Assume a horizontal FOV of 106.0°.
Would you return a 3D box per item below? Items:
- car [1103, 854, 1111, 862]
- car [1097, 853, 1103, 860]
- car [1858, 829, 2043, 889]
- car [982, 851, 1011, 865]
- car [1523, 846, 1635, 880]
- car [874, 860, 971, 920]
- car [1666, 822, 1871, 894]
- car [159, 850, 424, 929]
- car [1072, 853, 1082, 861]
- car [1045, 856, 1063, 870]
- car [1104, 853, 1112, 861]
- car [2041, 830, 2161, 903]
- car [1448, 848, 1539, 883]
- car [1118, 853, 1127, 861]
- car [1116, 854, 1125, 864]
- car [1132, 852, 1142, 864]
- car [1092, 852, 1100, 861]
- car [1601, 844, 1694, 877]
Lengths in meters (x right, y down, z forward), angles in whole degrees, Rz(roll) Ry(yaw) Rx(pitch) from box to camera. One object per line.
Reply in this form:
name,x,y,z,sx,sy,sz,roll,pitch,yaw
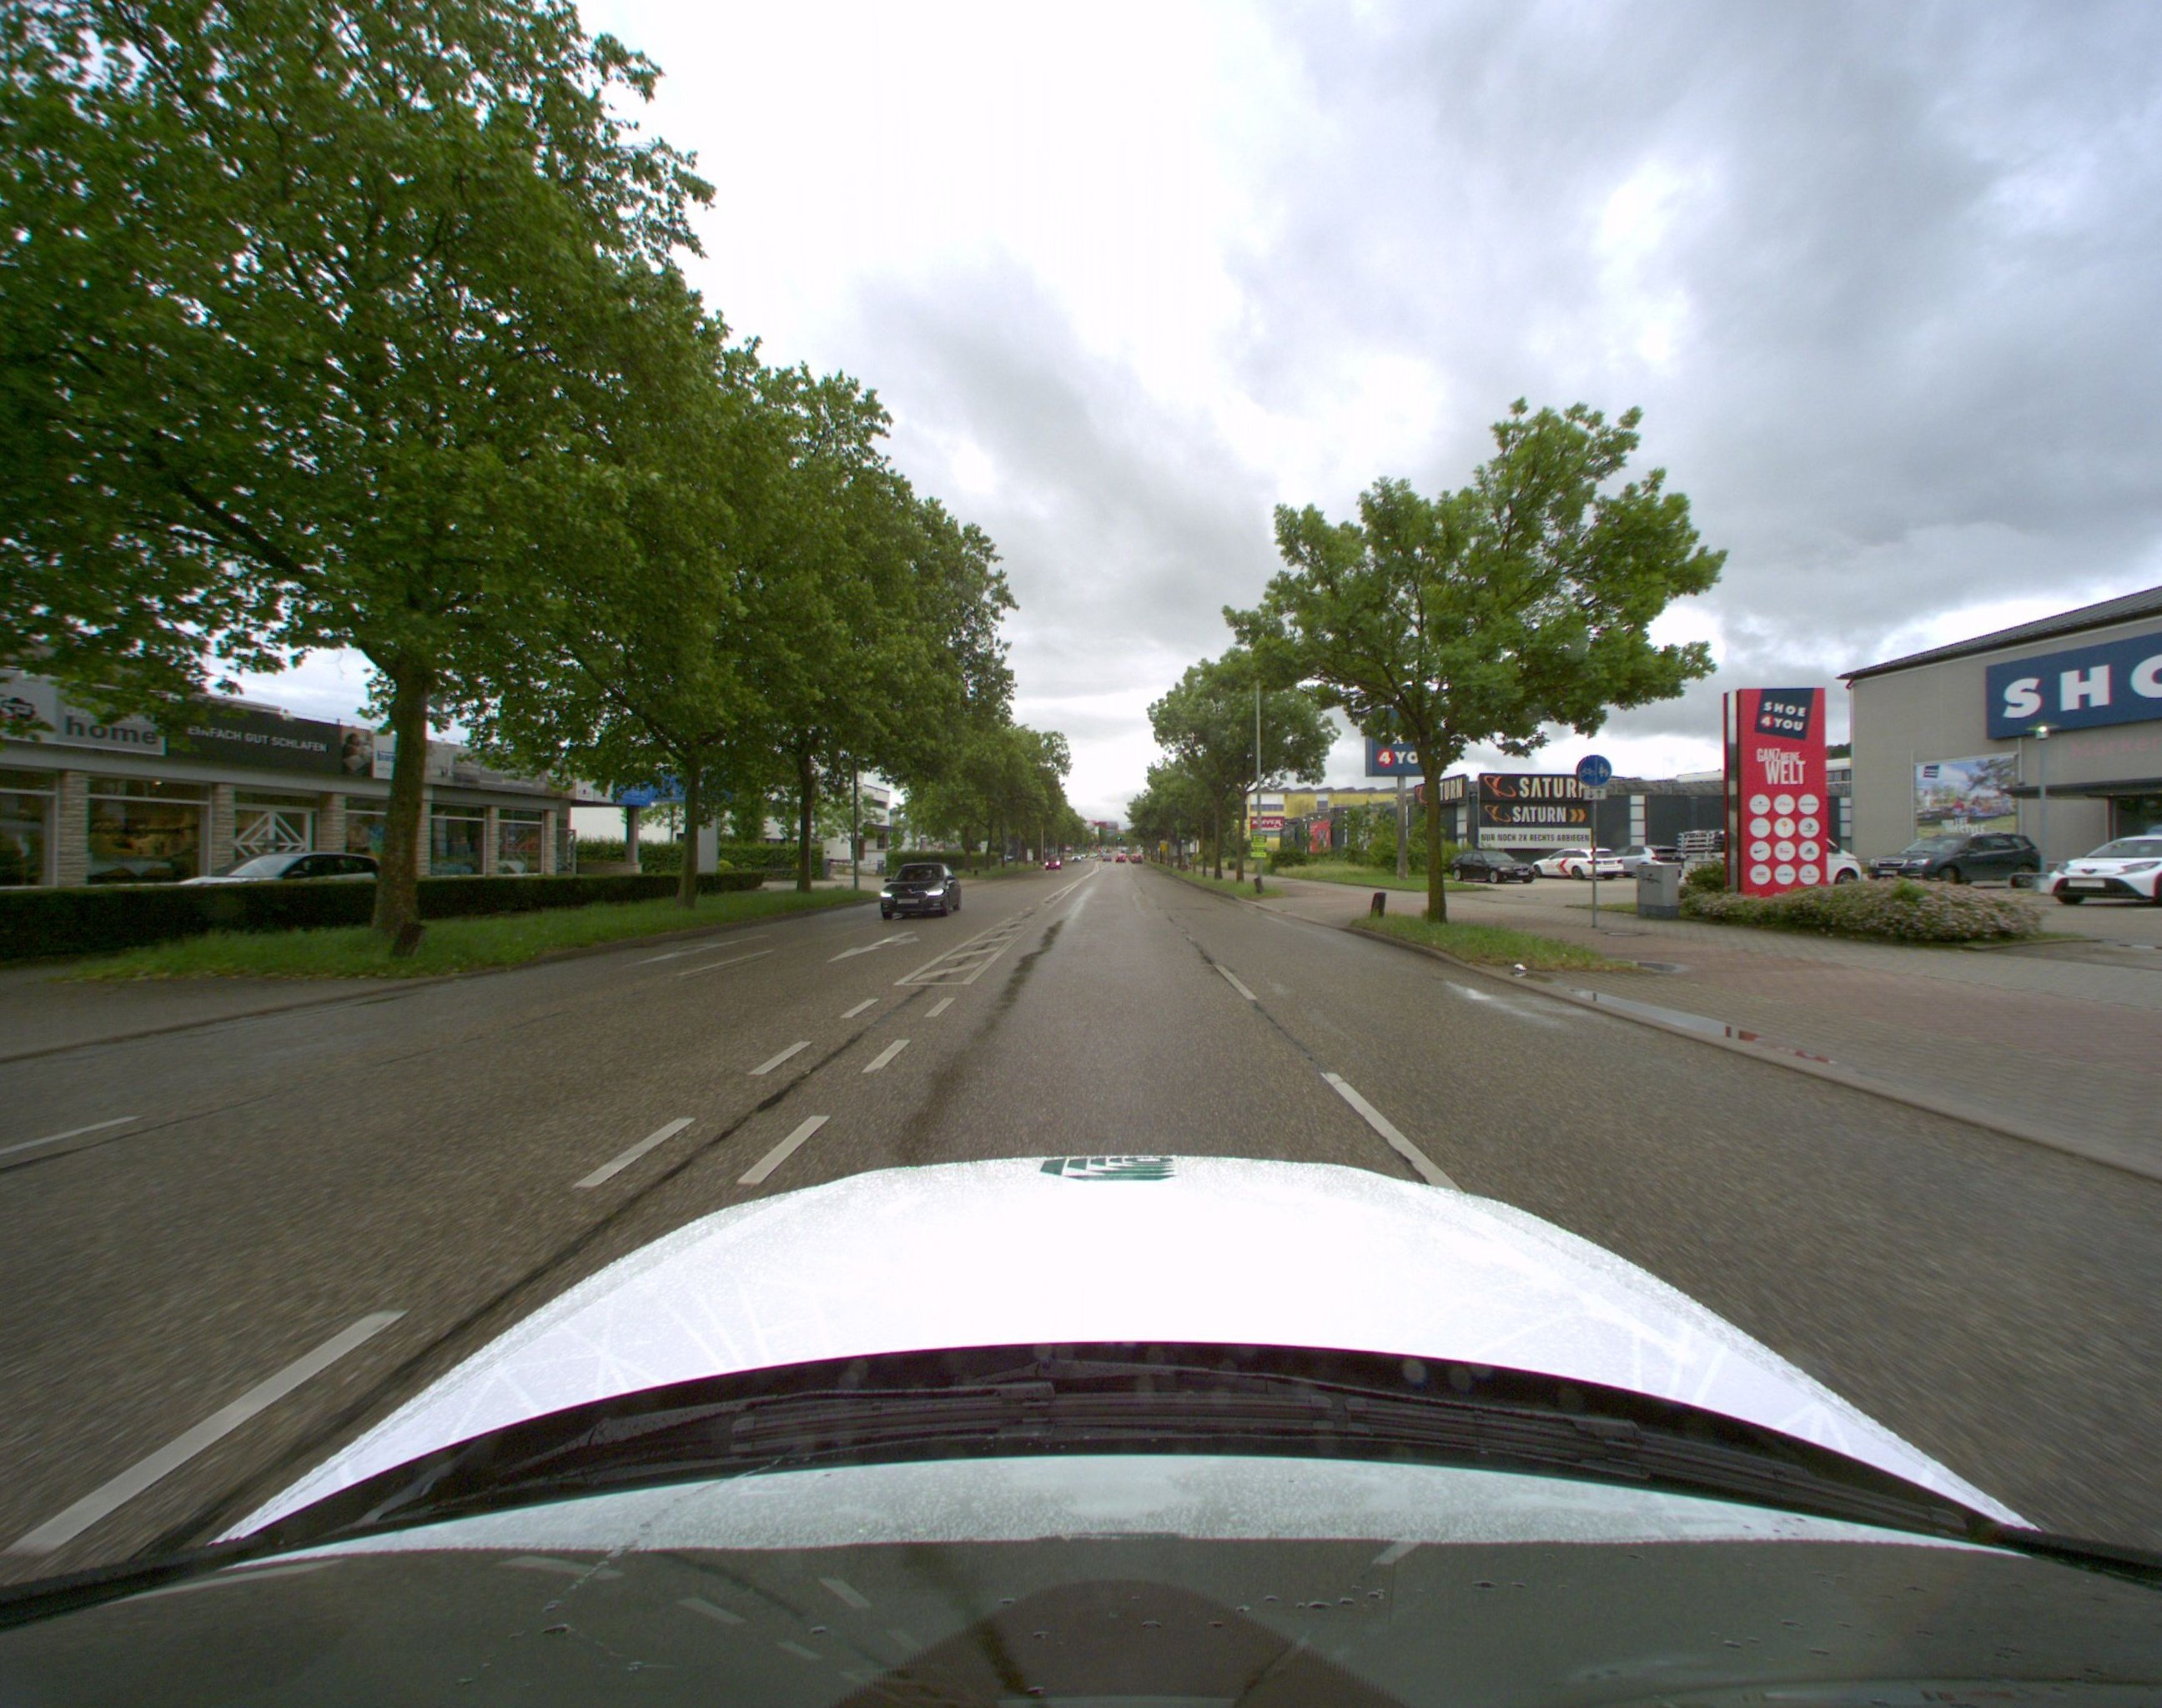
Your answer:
car,6.079,0.938,190.502,1.737,1.701,4.004,-1,0,4
car,5.402,0.701,232.503,1.820,2.013,4.000,-1,0,1
car,26.995,0.139,25.352,4.239,1.729,1.738,-1,0,-6
car,-12.499,0.646,120.912,3.970,1.925,1.828,-1,-1,3
car,23.365,0.385,38.448,1.878,1.468,4.941,-1,0,-7
car,-4.303,0.929,22.703,1.797,1.463,3.847,-2,0,1
car,20.766,0.112,24.696,4.816,2.014,1.985,-1,-1,-7
car,-16.815,0.682,17.676,1.816,1.486,3.941,-1,0,2
car,-0.925,0.644,178.348,1.696,1.737,4.006,-1,0,5
car,-3.089,1.063,94.375,1.719,1.517,3.824,-1,0,3
car,6.845,0.674,205.261,1.883,1.876,4.126,-1,0,2
car,23.665,0.233,17.841,3.634,1.515,1.672,-1,0,-6
car,18.404,0.473,36.588,1.576,1.428,4.256,-1,0,-7
car,9.266,0.679,181.172,1.737,1.737,4.004,-1,0,4
car,8.073,0.935,167.715,1.737,2.013,4.004,-2,0,4
car,10.462,0.735,151.922,1.737,2.013,4.004,-1,0,4
car,3.790,0.606,203.855,1.986,2.013,4.002,-1,0,2
car,26.187,0.306,37.768,1.578,1.441,3.579,-1,0,-7
